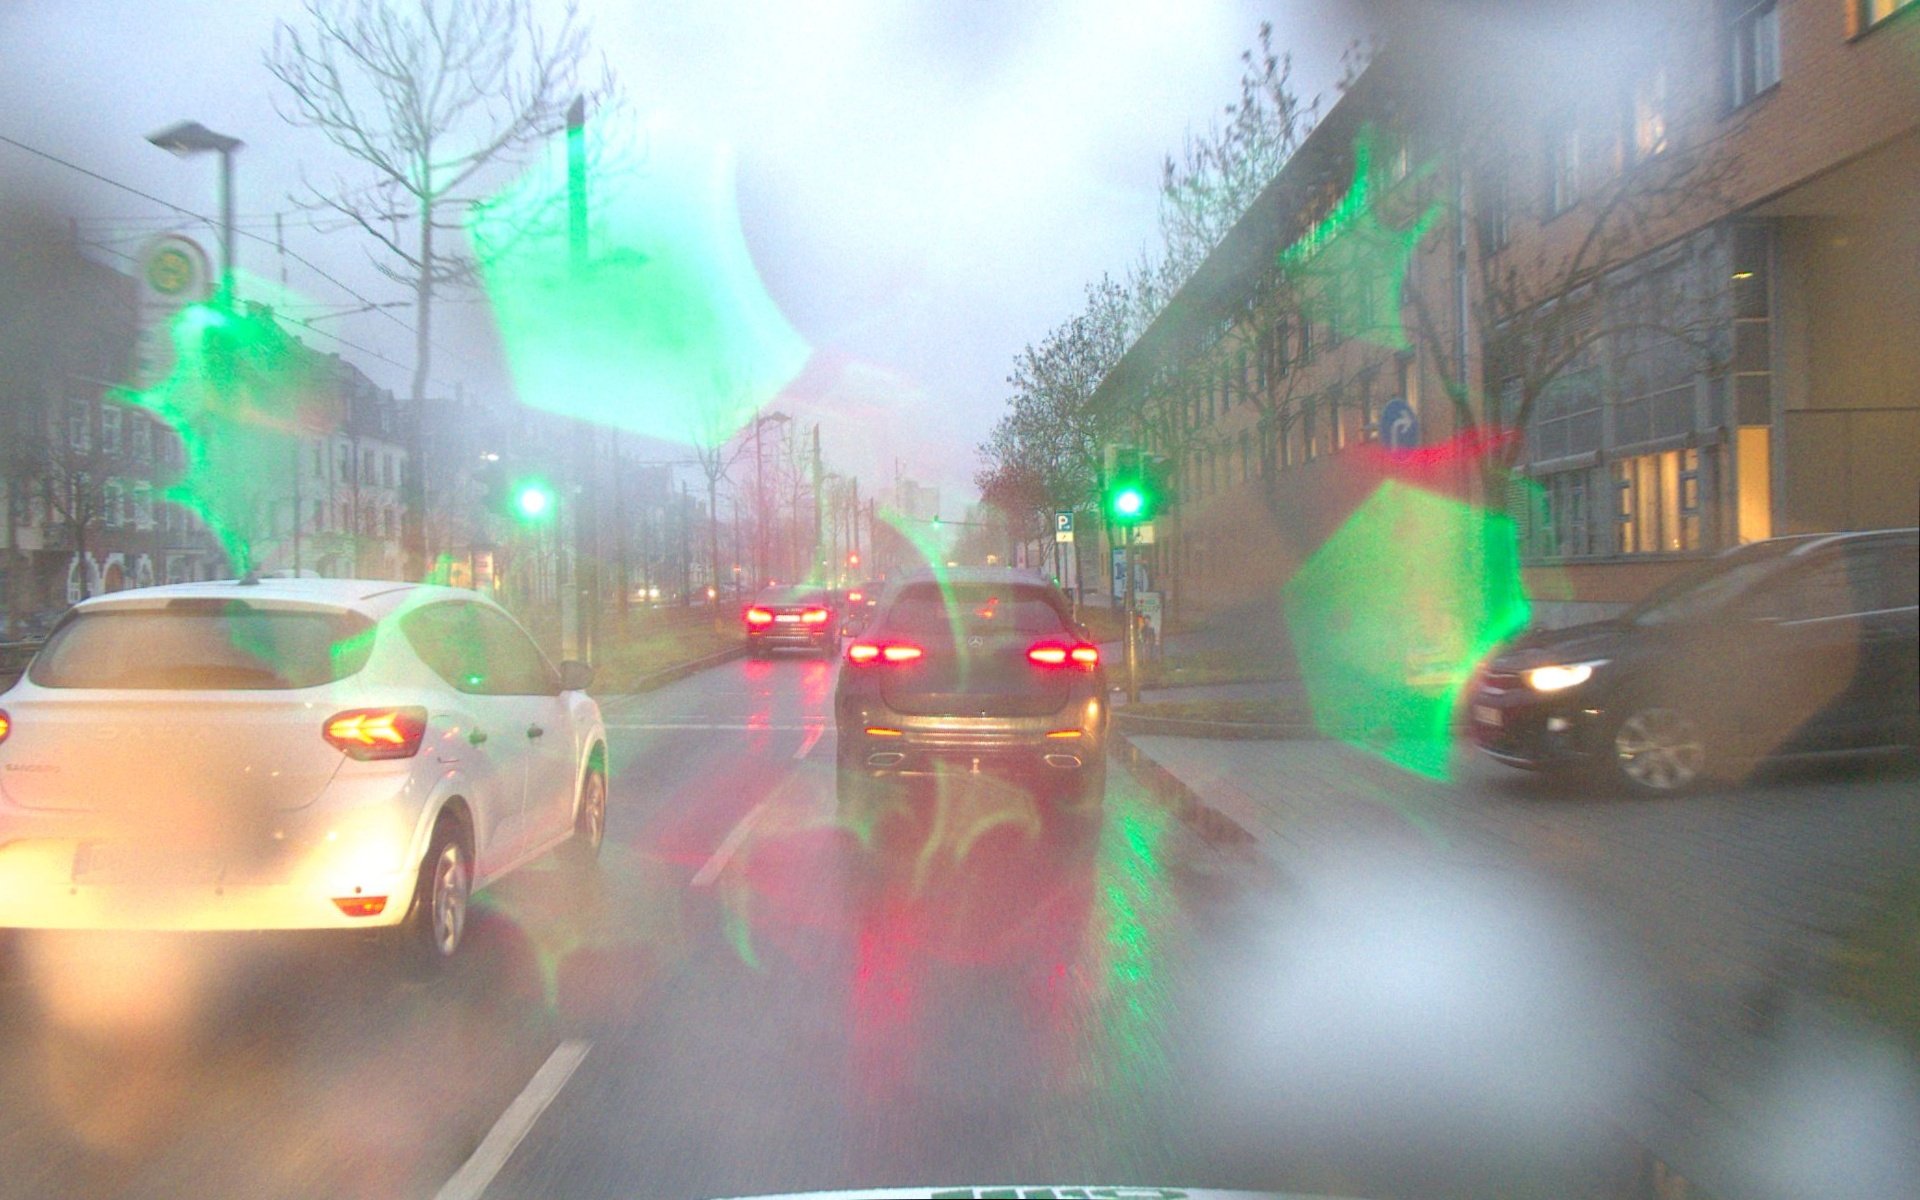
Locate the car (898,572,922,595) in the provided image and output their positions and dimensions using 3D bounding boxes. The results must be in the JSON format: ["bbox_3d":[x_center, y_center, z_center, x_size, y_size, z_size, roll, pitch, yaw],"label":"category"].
[{"bbox_3d":[-4.379,-1.435,144.433,1.954,1.948,3.998,-2,1,-2],"label":"car"}]

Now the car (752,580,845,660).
[{"bbox_3d":[-3.408,0.388,35.537,1.638,1.628,4.053,0,0,-1],"label":"car"}]

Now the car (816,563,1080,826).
[{"bbox_3d":[-0.090,0.571,12.332,1.638,1.628,4.053,0,0,-1],"label":"car"}]

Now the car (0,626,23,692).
[{"bbox_3d":[-22.815,1.404,36.277,1.827,1.478,4.699,-2,1,-1],"label":"car"}]

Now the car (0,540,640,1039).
[{"bbox_3d":[-2.640,0.605,7.456,1.638,1.628,4.053,0,0,-1],"label":"car"}]

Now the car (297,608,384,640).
[{"bbox_3d":[-29.115,1.124,77.721,3.921,1.355,1.992,-1,1,37],"label":"car"}]

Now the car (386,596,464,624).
[{"bbox_3d":[-28.298,0.528,87.436,3.921,1.355,1.992,-1,1,37],"label":"car"}]

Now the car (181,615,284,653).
[{"bbox_3d":[-28.321,1.320,64.401,3.921,1.355,1.992,-1,1,37],"label":"car"}]

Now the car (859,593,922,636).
[{"bbox_3d":[-2.294,0.465,55.420,1.953,1.321,3.479,-2,1,0],"label":"car"}]

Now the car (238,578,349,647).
[{"bbox_3d":[-28.843,0.573,71.475,5.760,2.846,1.989,-1,1,41],"label":"car"}]

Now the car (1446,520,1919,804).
[{"bbox_3d":[5.402,0.325,10.786,3.905,1.582,1.742,-3,0,0],"label":"car"}]

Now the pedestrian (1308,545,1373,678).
[{"bbox_3d":[5.186,0.153,22.546,0.499,1.772,0.650,-2,0,-33],"label":"pedestrian"}]

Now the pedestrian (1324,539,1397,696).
[{"bbox_3d":[4.849,0.205,20.048,0.498,1.856,0.652,-2,0,-27],"label":"pedestrian"}]

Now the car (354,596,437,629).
[{"bbox_3d":[-28.794,0.639,84.329,3.917,1.512,1.994,-2,1,34],"label":"car"}]

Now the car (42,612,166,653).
[{"bbox_3d":[-27.178,1.026,52.483,3.922,1.189,1.992,-1,1,38],"label":"car"}]

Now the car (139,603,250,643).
[{"bbox_3d":[-28.334,0.868,61.201,3.917,1.355,1.994,-2,1,34],"label":"car"}]

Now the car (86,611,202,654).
[{"bbox_3d":[-28.529,1.143,57.820,3.918,1.355,1.994,-2,1,35],"label":"car"}]
